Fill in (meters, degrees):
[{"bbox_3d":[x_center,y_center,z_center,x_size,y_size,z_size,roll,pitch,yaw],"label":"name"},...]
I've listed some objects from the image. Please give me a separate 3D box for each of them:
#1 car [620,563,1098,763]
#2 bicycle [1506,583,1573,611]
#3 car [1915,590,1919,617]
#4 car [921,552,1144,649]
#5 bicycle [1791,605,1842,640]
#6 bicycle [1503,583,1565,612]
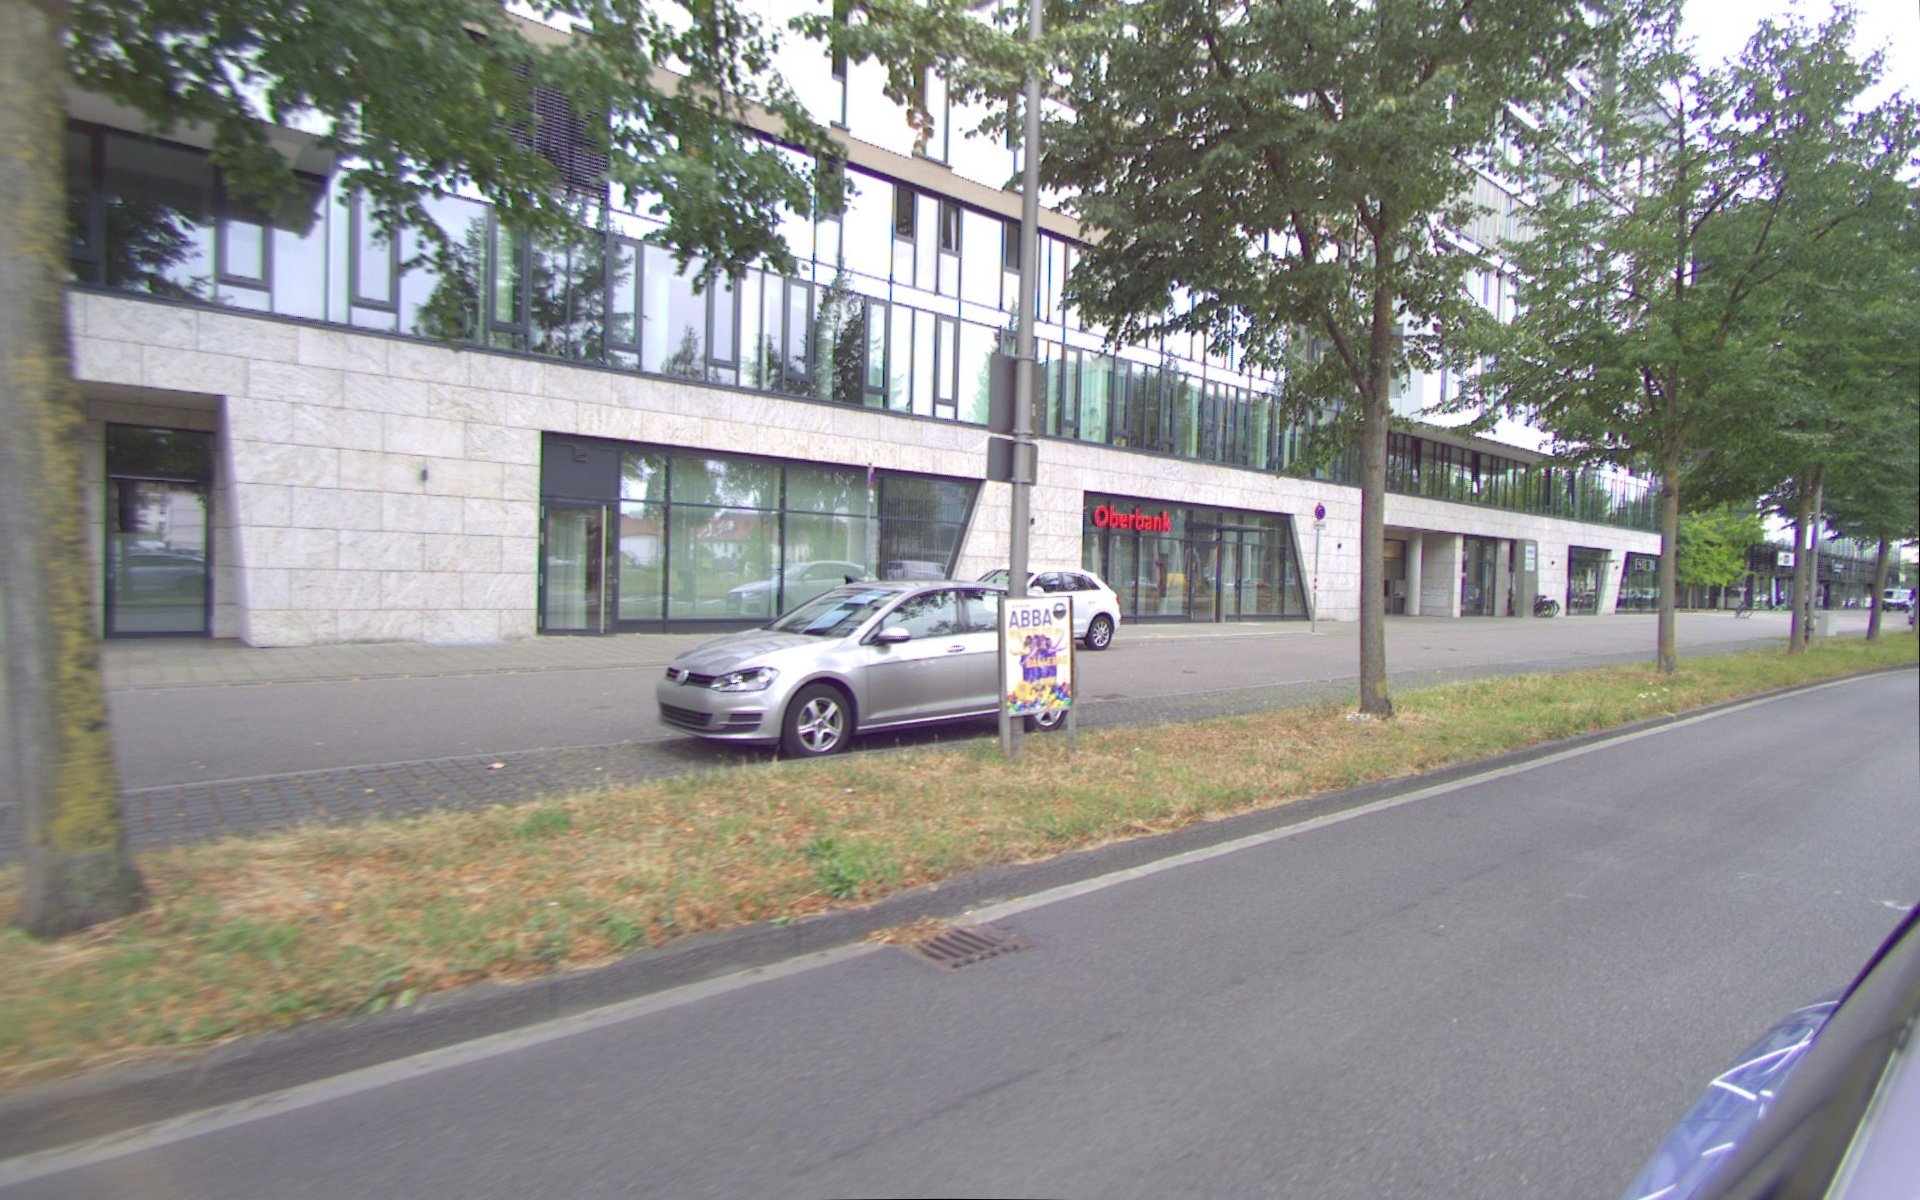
[{"bbox_3d":[-0.779,0.428,9.320,4.108,1.439,1.764,0,2,-40],"label":"car"},{"bbox_3d":[26.305,-0.156,45.975,2.418,1.191,1.184,3,2,43],"label":"bicycle"},{"bbox_3d":[56.610,0.238,58.243,3.930,1.549,1.953,0,2,-41],"label":"car"},{"bbox_3d":[1.483,-0.027,19.756,4.165,1.607,1.862,0,4,-40],"label":"car"},{"bbox_3d":[22.975,0.587,27.133,2.077,0.887,0.634,-1,0,-39],"label":"bicycle"},{"bbox_3d":[25.518,-0.139,45.035,2.231,1.191,0.961,3,2,43],"label":"bicycle"}]
